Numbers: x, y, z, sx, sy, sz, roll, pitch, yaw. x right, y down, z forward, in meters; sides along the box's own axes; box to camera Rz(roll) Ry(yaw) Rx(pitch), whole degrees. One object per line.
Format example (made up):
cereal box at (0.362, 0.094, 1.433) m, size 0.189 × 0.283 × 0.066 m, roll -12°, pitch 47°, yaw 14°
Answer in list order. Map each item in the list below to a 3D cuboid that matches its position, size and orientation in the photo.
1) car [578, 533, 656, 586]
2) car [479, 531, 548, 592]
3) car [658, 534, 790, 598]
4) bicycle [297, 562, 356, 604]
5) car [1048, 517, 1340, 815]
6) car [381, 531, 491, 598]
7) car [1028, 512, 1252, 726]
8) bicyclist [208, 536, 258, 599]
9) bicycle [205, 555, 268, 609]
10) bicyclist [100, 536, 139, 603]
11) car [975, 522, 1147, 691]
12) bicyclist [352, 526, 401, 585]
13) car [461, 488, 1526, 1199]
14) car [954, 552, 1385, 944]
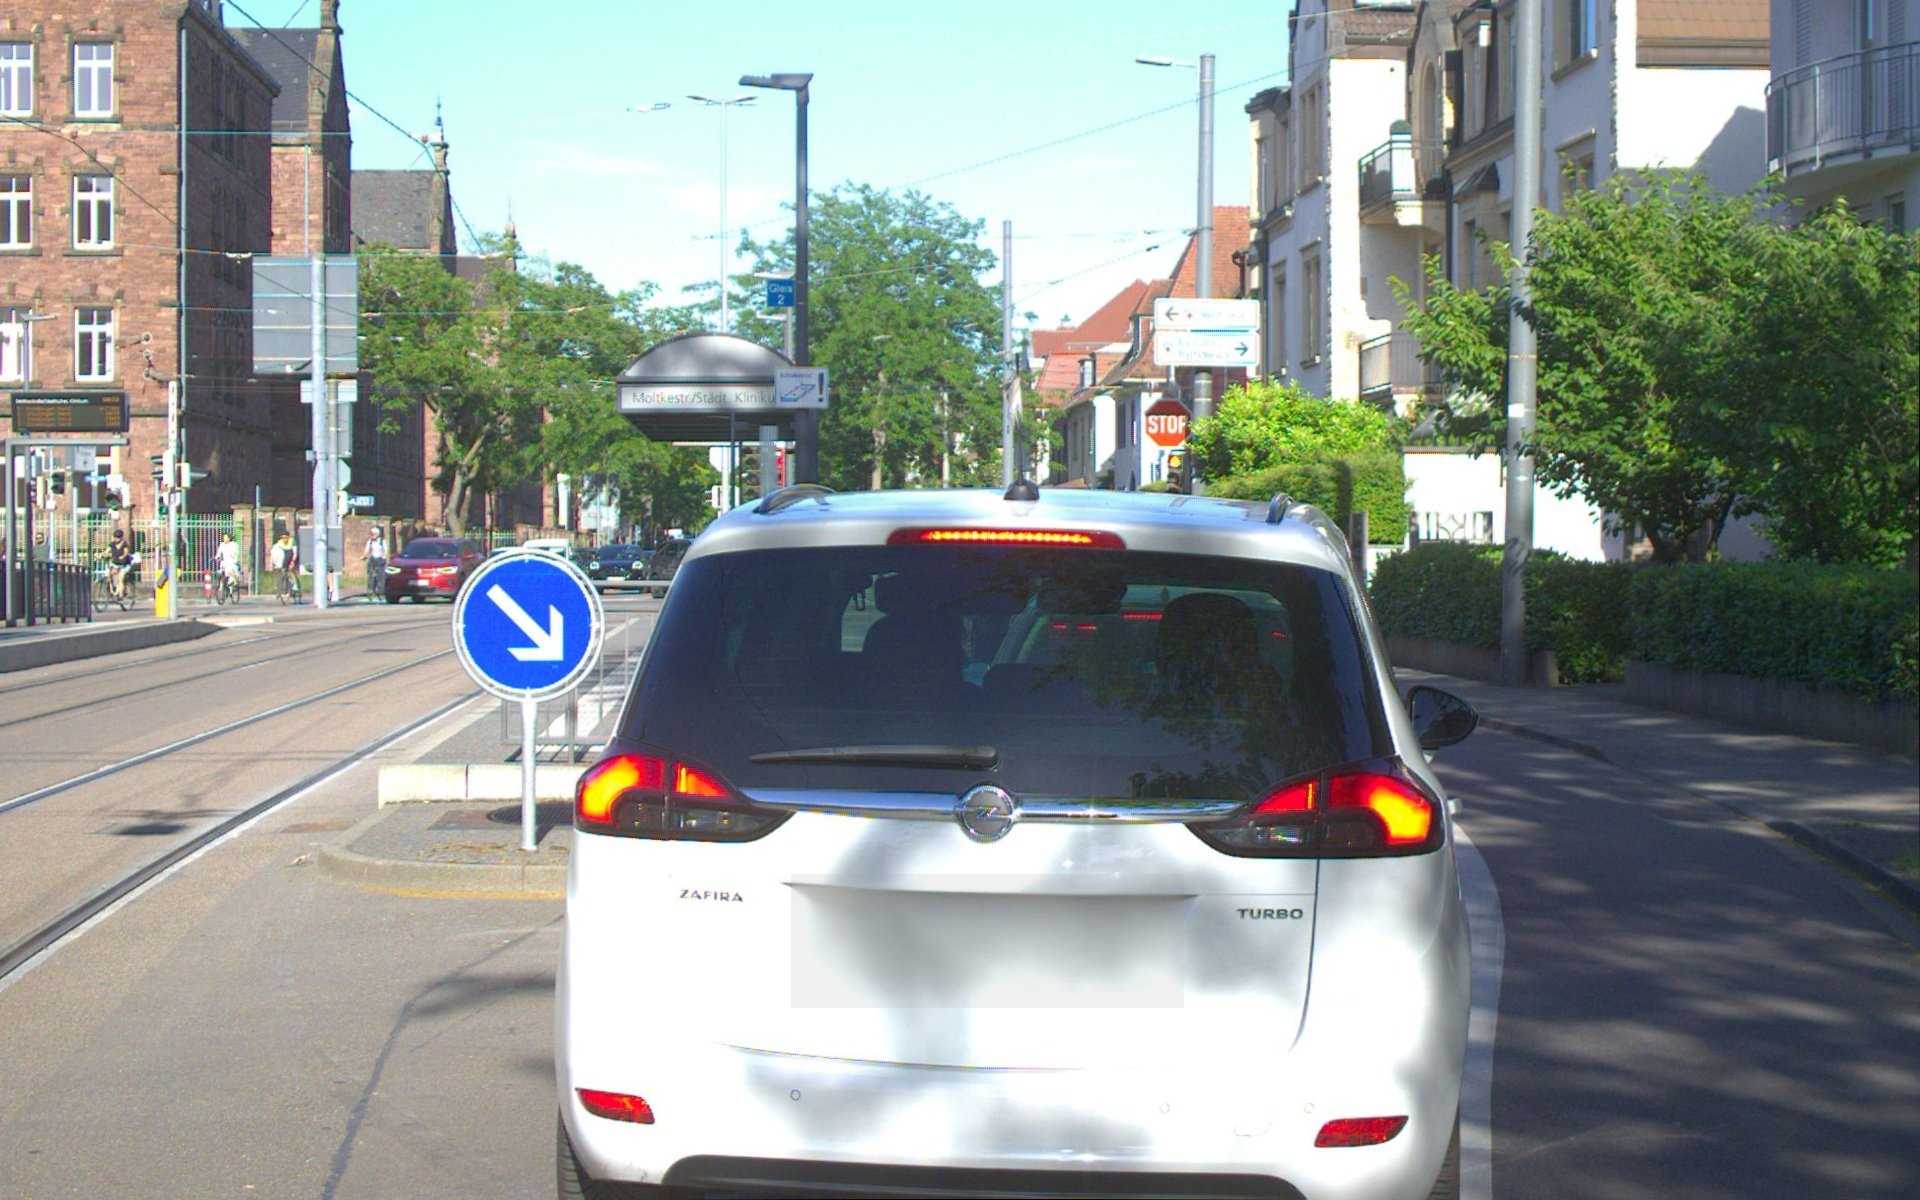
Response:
car at (-10.522, -1.267, 105.732) m, size 1.993 × 1.590 × 4.000 m, roll 0°, pitch 1°, yaw 0°
car at (-13.578, -1.193, 104.626) m, size 1.698 × 1.803 × 4.000 m, roll 0°, pitch 1°, yaw -2°
car at (-6.147, -0.903, 89.273) m, size 1.666 × 1.624 × 4.000 m, roll 0°, pitch 1°, yaw -33°
bicycle at (-16.663, -0.461, 90.462) m, size 0.669 × 1.068 × 2.013 m, roll 2°, pitch 1°, yaw 16°
car at (1.465, 0.328, 21.032) m, size 1.569 × 1.609 × 3.783 m, roll 2°, pitch 1°, yaw 5°
car at (-12.874, -0.897, 84.696) m, size 1.818 × 1.601 × 4.359 m, roll 0°, pitch 1°, yaw 3°
car at (1.464, 0.116, 29.167) m, size 1.596 × 1.629 × 3.901 m, roll 2°, pitch 1°, yaw -1°
bicyclist at (-17.417, -0.778, 82.365) m, size 0.757 × 1.466 × 1.190 m, roll 0°, pitch -1°, yaw 12°
bicycle at (-17.346, -0.427, 82.477) m, size 0.815 × 1.194 × 1.951 m, roll -1°, pitch -2°, yaw 10°
bicyclist at (-18.429, -0.670, 75.390) m, size 0.653 × 1.454 × 1.152 m, roll 0°, pitch 1°, yaw -5°
car at (1.015, 0.032, 36.326) m, size 1.596 × 1.629 × 3.901 m, roll 2°, pitch 1°, yaw -1°
bicyclist at (-15.296, -1.175, 90.214) m, size 0.761 × 1.531 × 1.347 m, roll 1°, pitch 1°, yaw 15°
car at (0.218, 0.567, 8.093) m, size 1.878 × 1.579 × 3.999 m, roll 1°, pitch 1°, yaw 5°
car at (0.947, 0.526, 14.782) m, size 1.569 × 1.396 × 3.783 m, roll 2°, pitch 1°, yaw 5°
